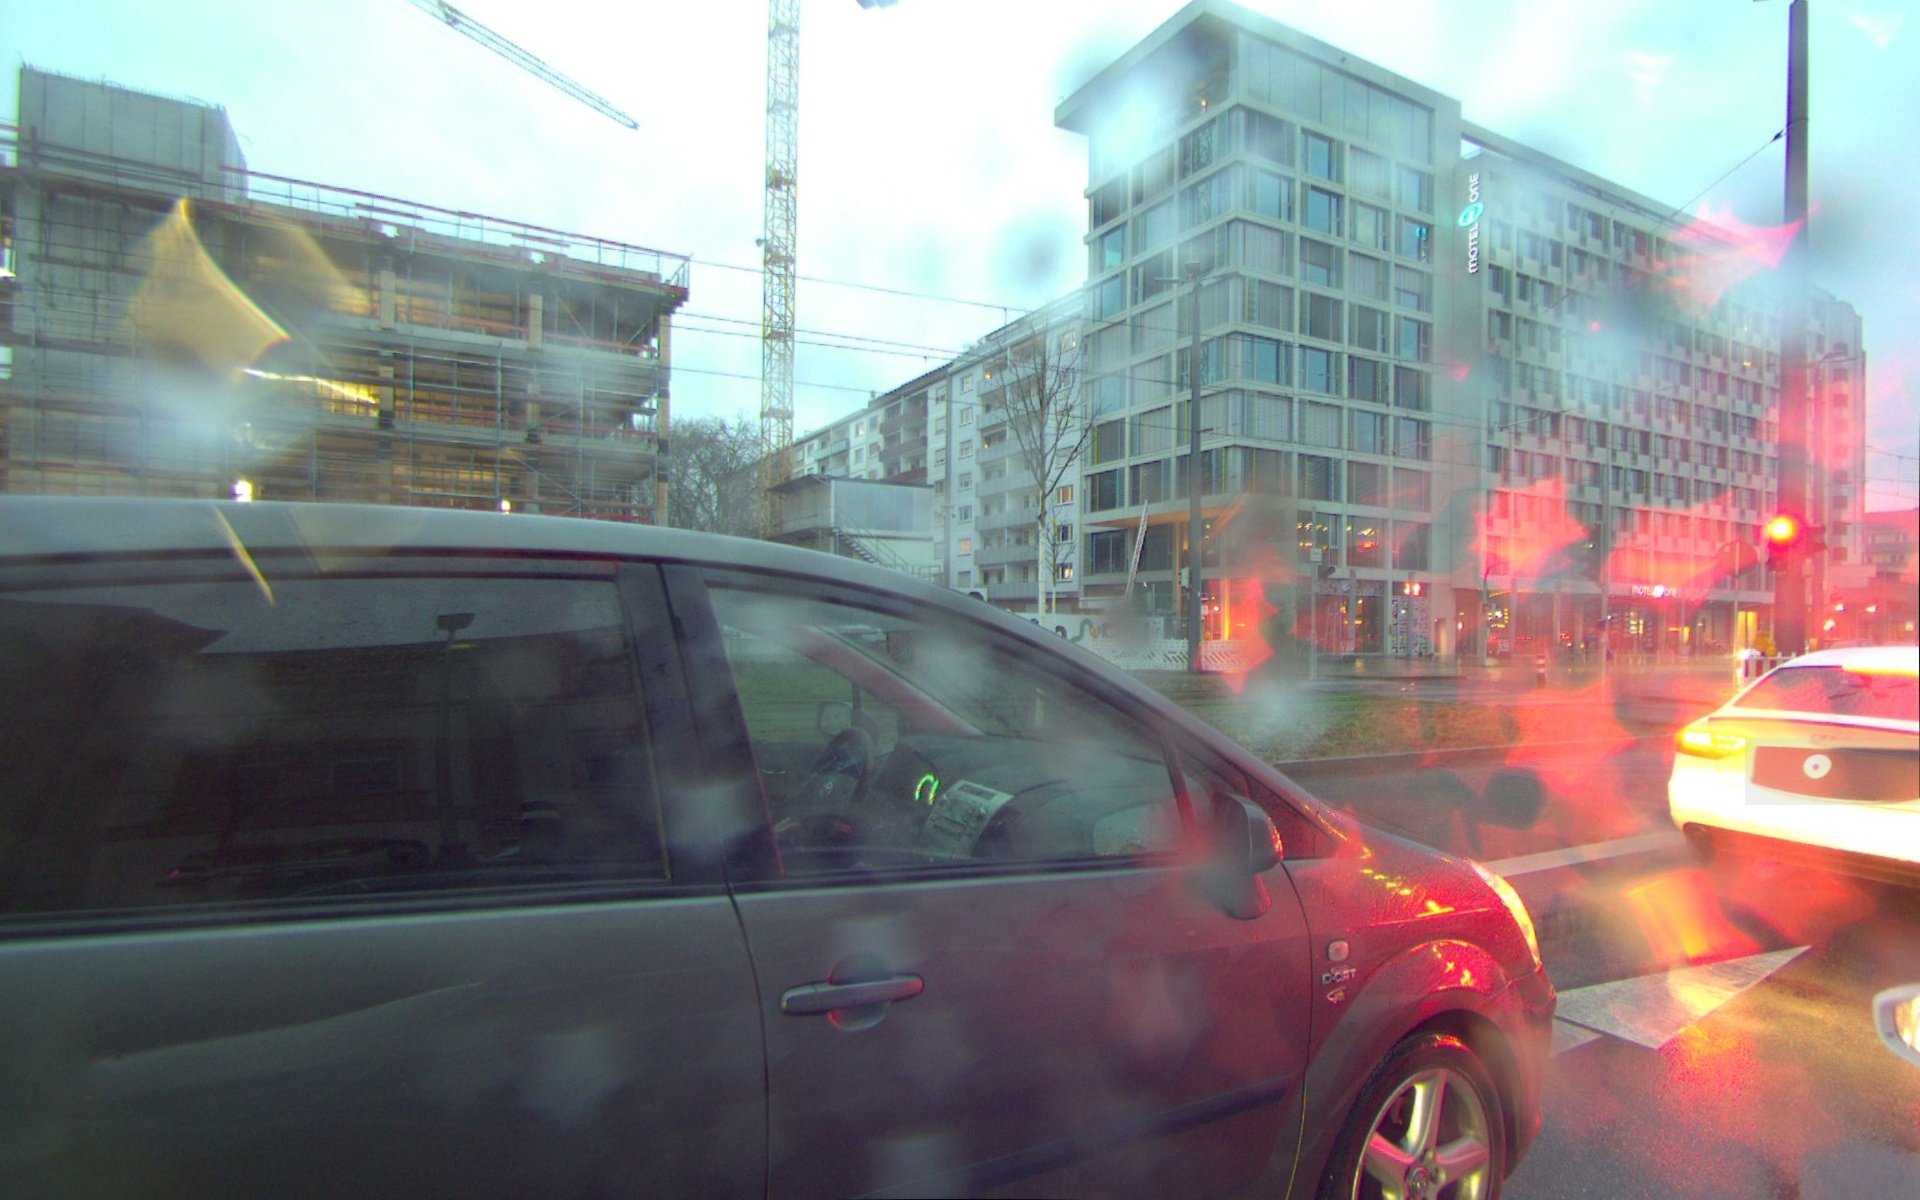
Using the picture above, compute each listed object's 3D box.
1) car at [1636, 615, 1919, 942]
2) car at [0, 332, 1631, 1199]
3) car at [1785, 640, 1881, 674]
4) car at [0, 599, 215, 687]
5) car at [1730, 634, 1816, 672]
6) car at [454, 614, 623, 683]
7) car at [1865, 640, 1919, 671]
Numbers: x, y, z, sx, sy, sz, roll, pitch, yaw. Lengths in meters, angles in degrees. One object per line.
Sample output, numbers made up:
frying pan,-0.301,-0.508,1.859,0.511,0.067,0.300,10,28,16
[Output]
car,6.074,0.900,6.074,4.205,1.489,1.750,2,0,-32
car,-0.507,0.592,2.129,3.956,1.615,1.750,2,0,-32
car,41.851,2.731,48.134,5.035,1.481,1.984,2,0,-30
car,-22.418,1.118,26.539,4.029,2.151,1.947,2,0,-25
car,41.840,2.709,51.686,4.544,1.813,1.873,2,0,-30
car,-11.436,1.296,27.279,4.033,1.709,1.944,2,0,-28
car,50.312,2.939,54.150,5.062,1.481,1.973,2,0,-45
